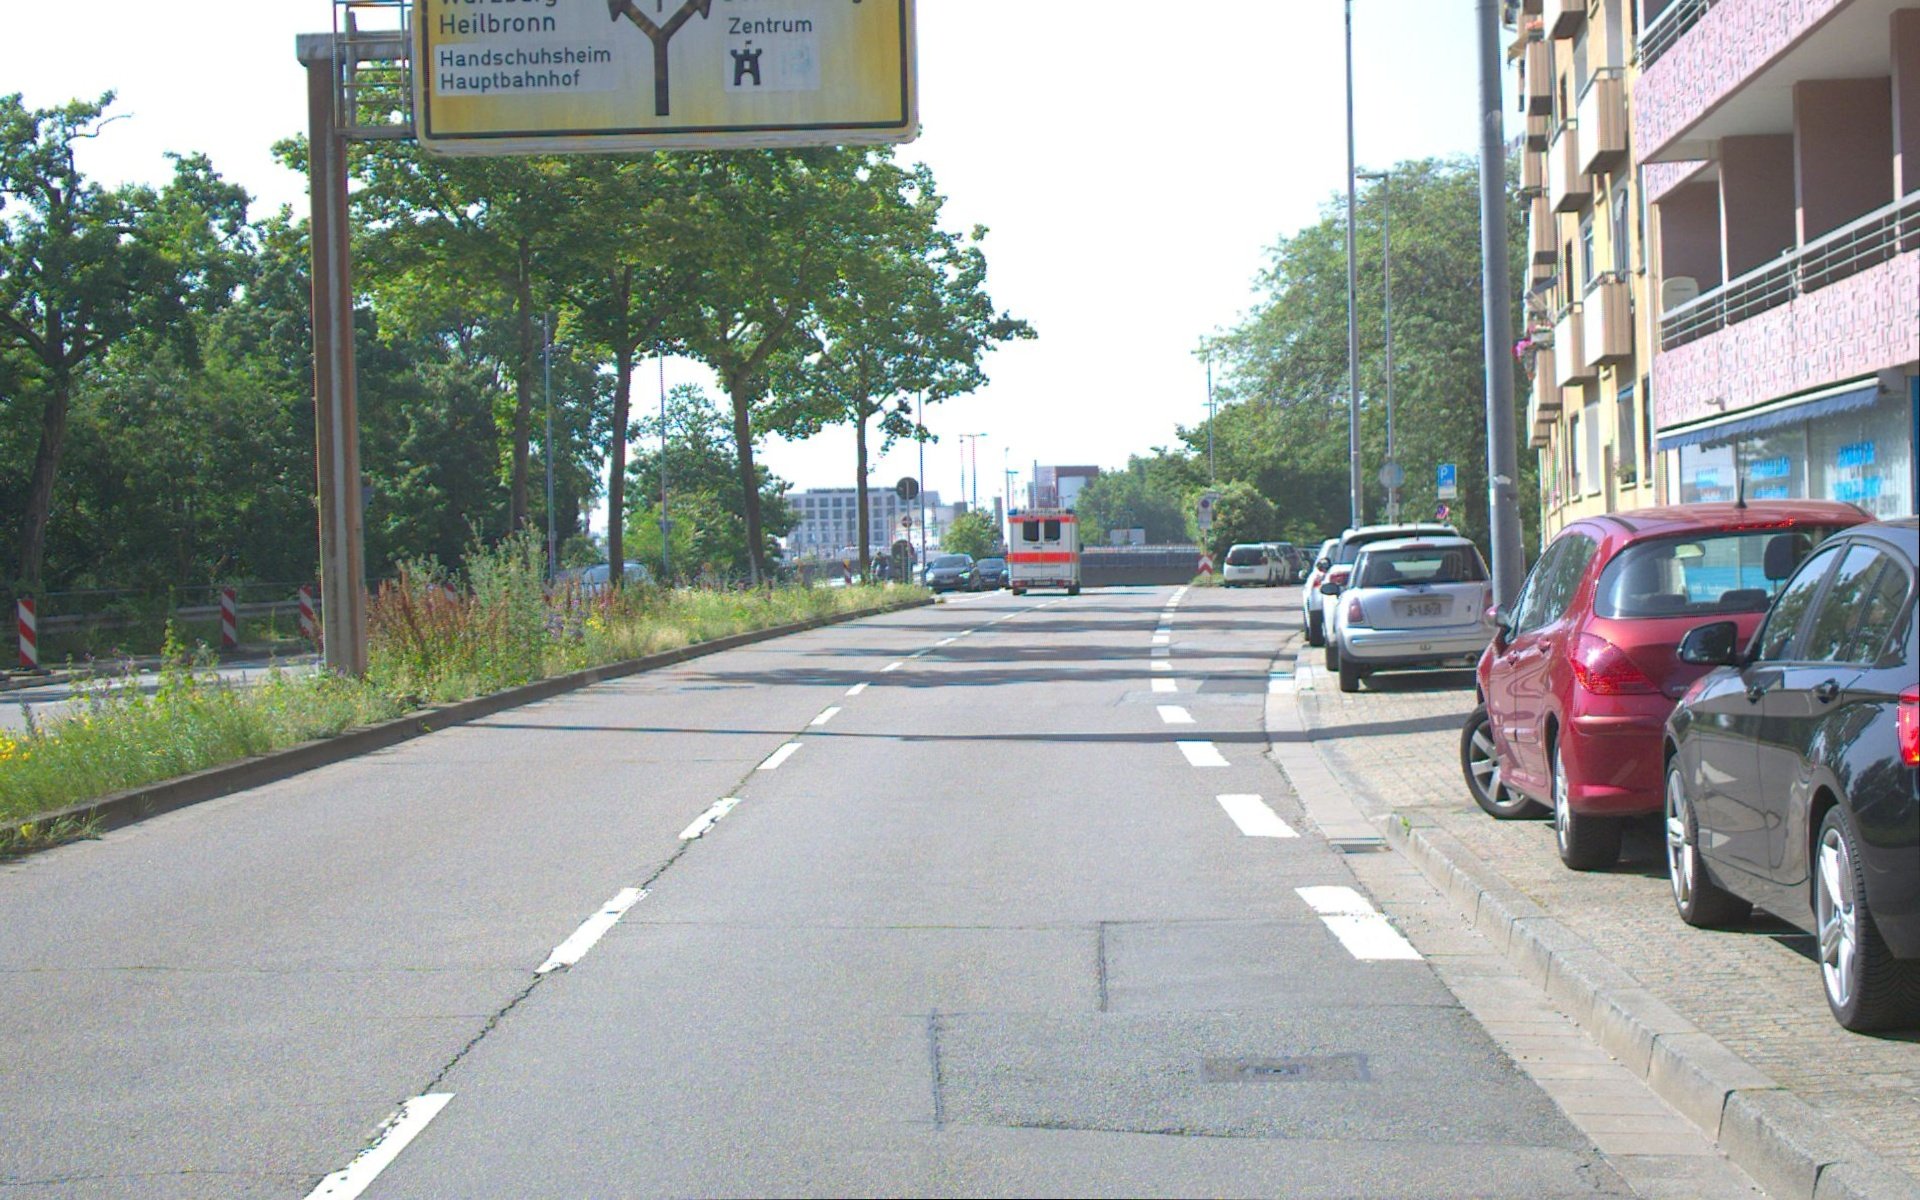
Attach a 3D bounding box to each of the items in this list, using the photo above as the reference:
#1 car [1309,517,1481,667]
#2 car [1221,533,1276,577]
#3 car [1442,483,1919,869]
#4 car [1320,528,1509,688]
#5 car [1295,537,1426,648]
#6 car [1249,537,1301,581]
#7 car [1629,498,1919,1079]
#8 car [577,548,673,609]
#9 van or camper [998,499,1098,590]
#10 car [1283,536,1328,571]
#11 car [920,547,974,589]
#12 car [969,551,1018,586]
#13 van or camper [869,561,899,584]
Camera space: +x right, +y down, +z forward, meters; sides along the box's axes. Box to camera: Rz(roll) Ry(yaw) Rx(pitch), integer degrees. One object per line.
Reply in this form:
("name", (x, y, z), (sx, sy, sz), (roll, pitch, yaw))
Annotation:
("car", (4.826, -0.118, 38.597), (1.736, 1.536, 4.353), (-2, 1, 6))
("car", (10.072, -1.568, 119.761), (1.620, 1.500, 3.460), (0, 1, 10))
("car", (3.347, 0.273, 15.680), (1.785, 1.477, 4.000), (-3, 1, 2))
("car", (4.430, 0.045, 33.818), (1.678, 1.404, 3.430), (-3, 1, 6))
("car", (5.604, -0.124, 48.467), (1.757, 1.501, 4.127), (0, 1, 6))
("car", (11.911, -1.562, 129.728), (1.772, 1.574, 4.185), (-2, 1, 7))
("car", (3.220, 0.420, 10.601), (1.642, 1.448, 4.126), (-2, 1, 3))
("car", (-8.737, -0.576, 89.992), (1.646, 1.411, 3.970), (-5, 1, 6))
("van or camper", (2.824, -1.741, 109.131), (2.297, 2.780, 5.568), (-1, 1, 11))
("car", (15.174, -2.060, 150.979), (1.664, 1.506, 3.788), (1, 1, 10))
("car", (-0.485, -1.215, 130.308), (1.798, 1.525, 4.000), (-1, 1, 3))
("car", (1.510, -1.429, 154.241), (1.764, 1.469, 4.084), (-2, 1, 6))
("van or camper", (-4.658, -1.706, 211.782), (1.467, 1.345, 4.630), (-1, 1, 3))
